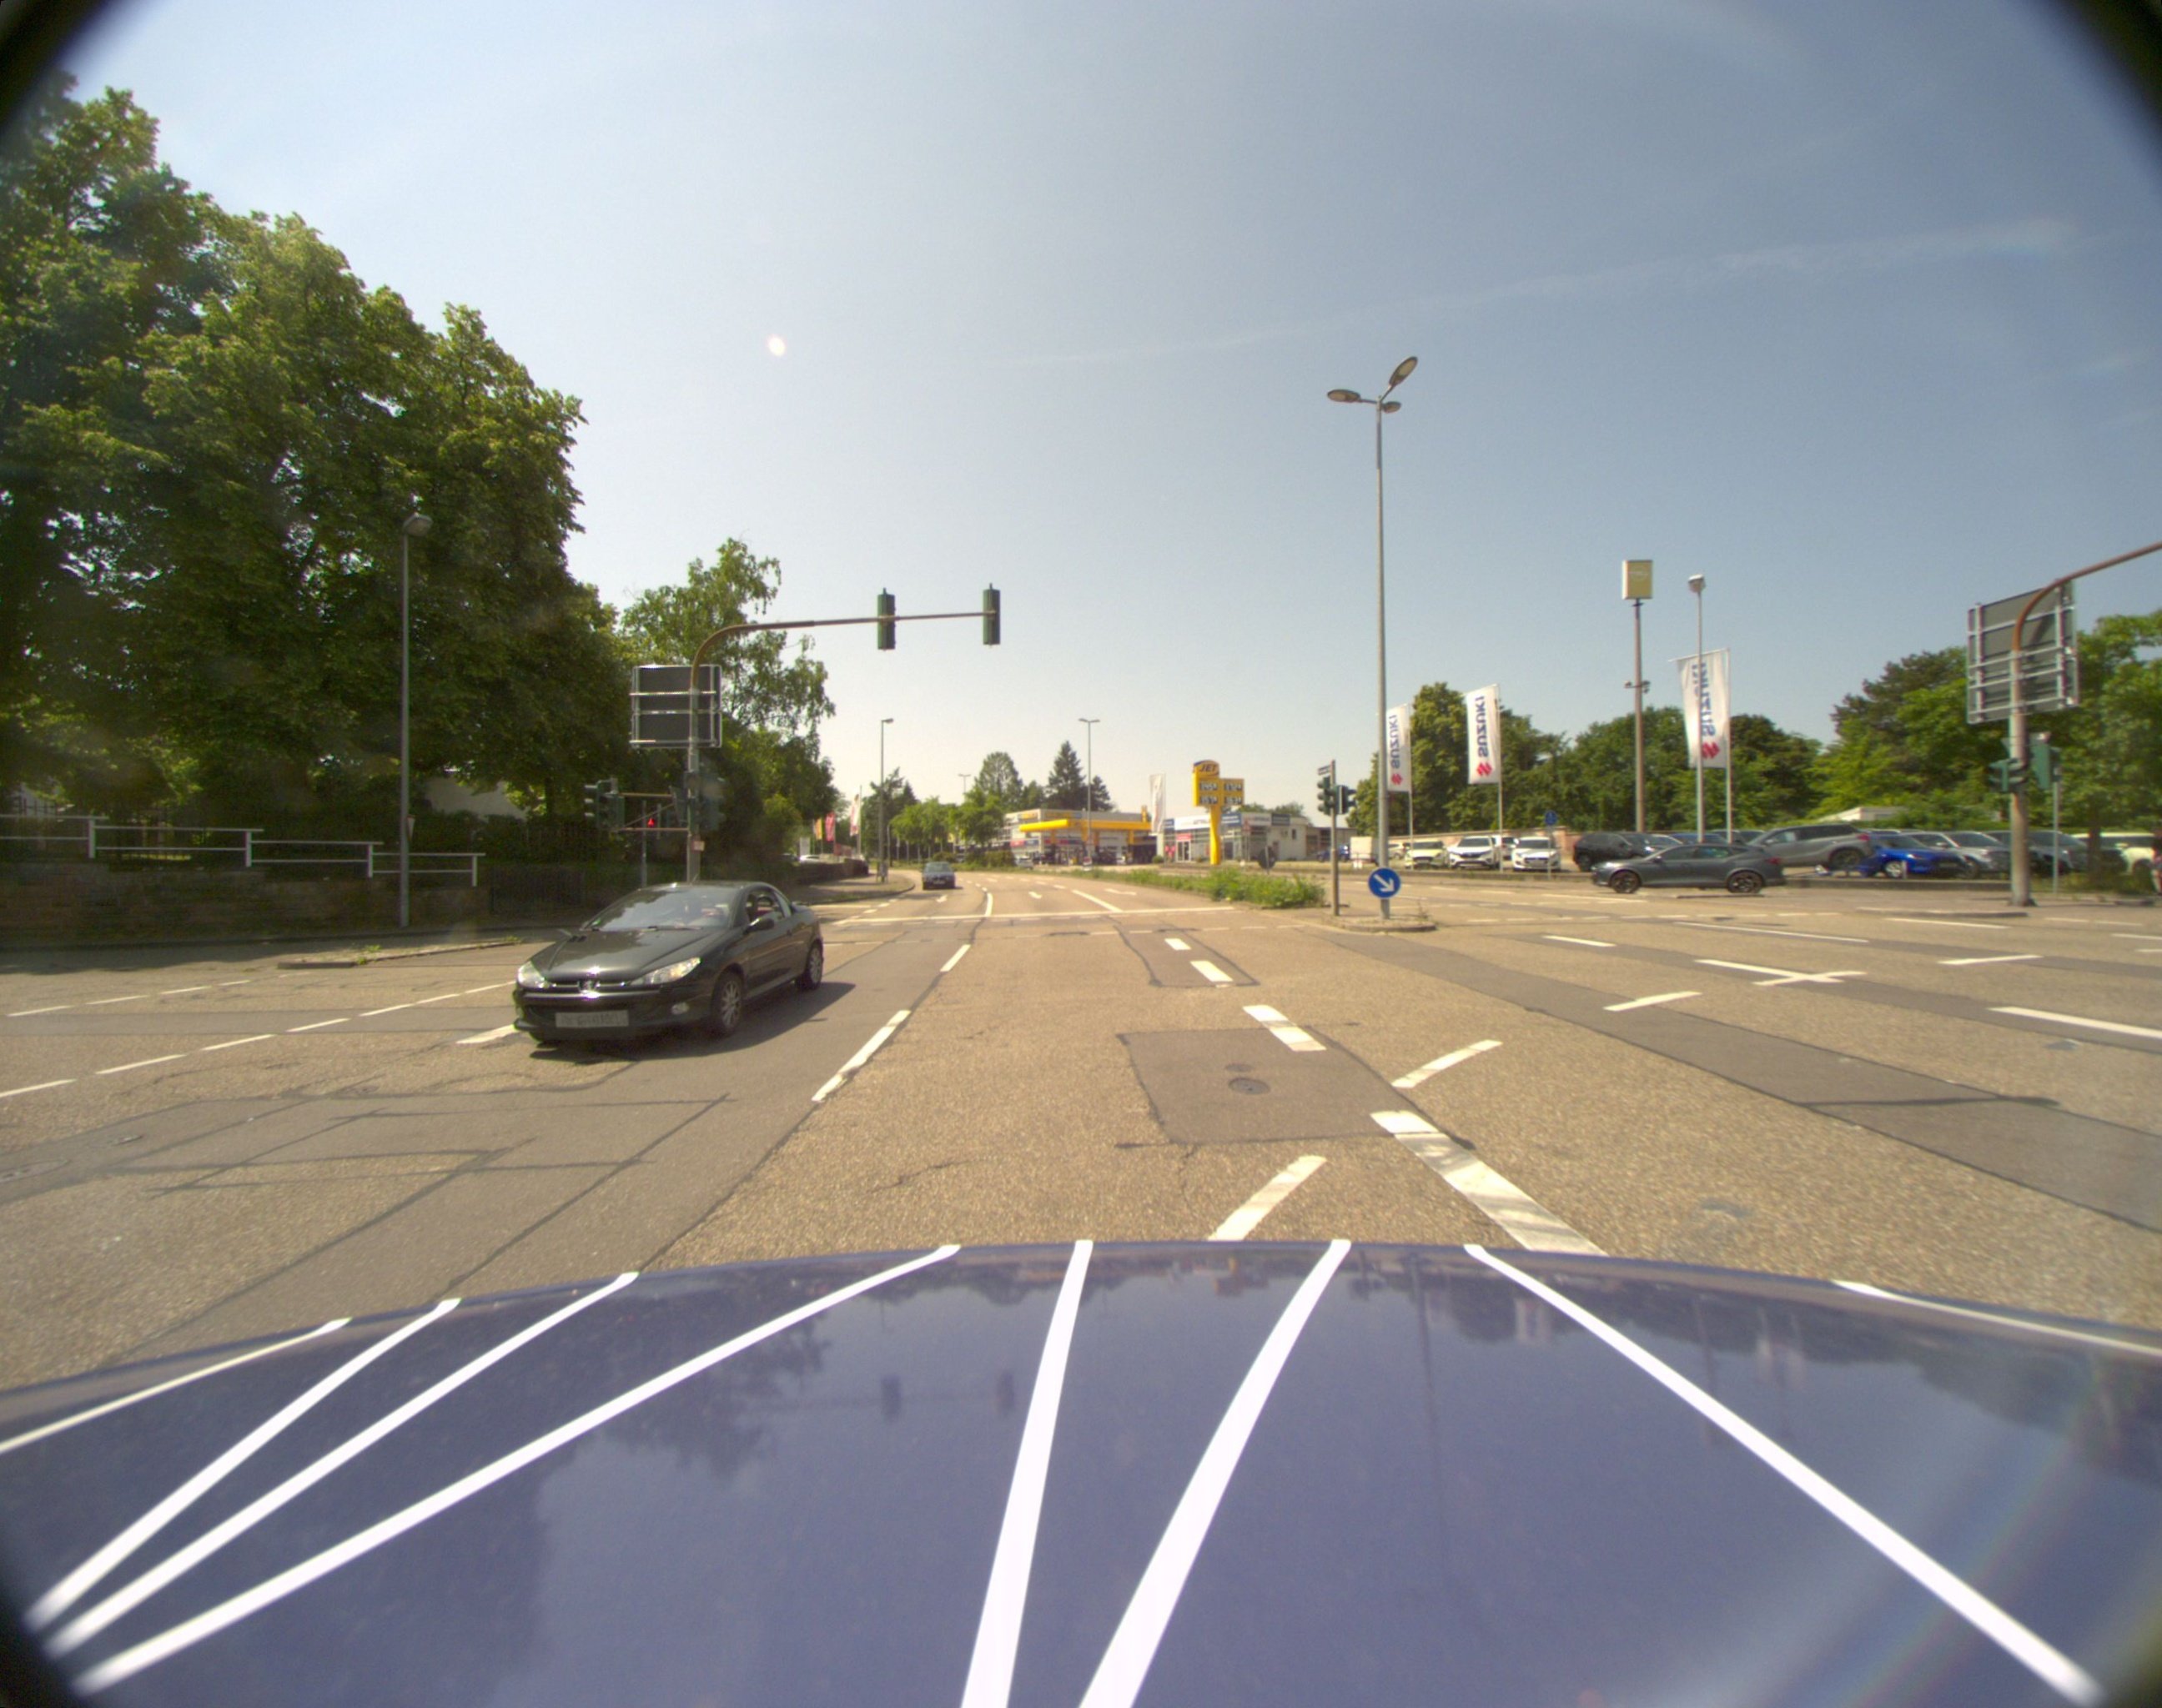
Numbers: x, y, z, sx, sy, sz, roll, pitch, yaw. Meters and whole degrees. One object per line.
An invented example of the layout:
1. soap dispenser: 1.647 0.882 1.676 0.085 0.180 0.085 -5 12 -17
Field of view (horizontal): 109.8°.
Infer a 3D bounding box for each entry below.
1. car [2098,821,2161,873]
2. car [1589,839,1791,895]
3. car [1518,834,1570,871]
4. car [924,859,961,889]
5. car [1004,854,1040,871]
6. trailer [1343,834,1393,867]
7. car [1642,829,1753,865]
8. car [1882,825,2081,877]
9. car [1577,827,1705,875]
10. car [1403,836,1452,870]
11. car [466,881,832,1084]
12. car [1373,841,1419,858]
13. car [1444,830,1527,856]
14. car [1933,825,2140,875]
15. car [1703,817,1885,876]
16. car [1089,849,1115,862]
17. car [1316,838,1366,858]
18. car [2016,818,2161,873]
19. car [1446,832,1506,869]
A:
1. car: 36.877 -0.246 24.812 1.868 1.674 3.998 -2 1 -4
2. car: 17.575 0.359 22.209 4.428 1.476 2.008 0 -1 36
3. car: 19.840 -0.107 32.474 1.711 1.424 3.970 0 2 34
4. car: -7.125 1.015 39.350 1.698 1.365 3.996 0 1 -8
5. car: -6.178 0.889 79.045 1.877 1.415 4.260 -2 -4 -34
6. trailer: 15.521 -0.221 41.104 1.689 1.694 2.439 -1 1 43
7. car: 28.783 -0.339 35.653 1.795 1.528 3.998 -2 1 -4
8. car: 29.867 -0.125 25.414 1.795 1.528 3.998 -2 1 -4
9. car: 21.745 -0.155 29.711 1.845 1.714 4.011 -1 1 -5
10. car: 17.104 -0.065 37.427 1.753 1.501 3.827 -2 1 31
11. car: -3.918 1.052 7.672 1.604 1.416 3.661 -1 0 -1
12. car: 28.031 -0.385 67.722 1.622 1.497 3.624 -2 0 -23
13. car: 26.595 -0.697 50.177 1.696 1.640 4.748 -2 0 -25
14. car: 32.031 -0.155 25.686 1.841 1.561 3.998 0 1 -4
15. car: 24.475 -0.285 26.341 4.297 1.891 1.833 1 2 32
16. car: 2.726 0.174 98.273 1.658 1.534 4.205 -3 1 -24
17. car: 20.351 -0.447 59.581 1.696 1.497 3.624 -2 0 -23
18. car: 34.445 -0.295 25.166 1.906 1.697 3.998 -2 1 -4
19. car: 18.254 -0.189 35.066 1.913 1.532 3.970 -2 1 35
